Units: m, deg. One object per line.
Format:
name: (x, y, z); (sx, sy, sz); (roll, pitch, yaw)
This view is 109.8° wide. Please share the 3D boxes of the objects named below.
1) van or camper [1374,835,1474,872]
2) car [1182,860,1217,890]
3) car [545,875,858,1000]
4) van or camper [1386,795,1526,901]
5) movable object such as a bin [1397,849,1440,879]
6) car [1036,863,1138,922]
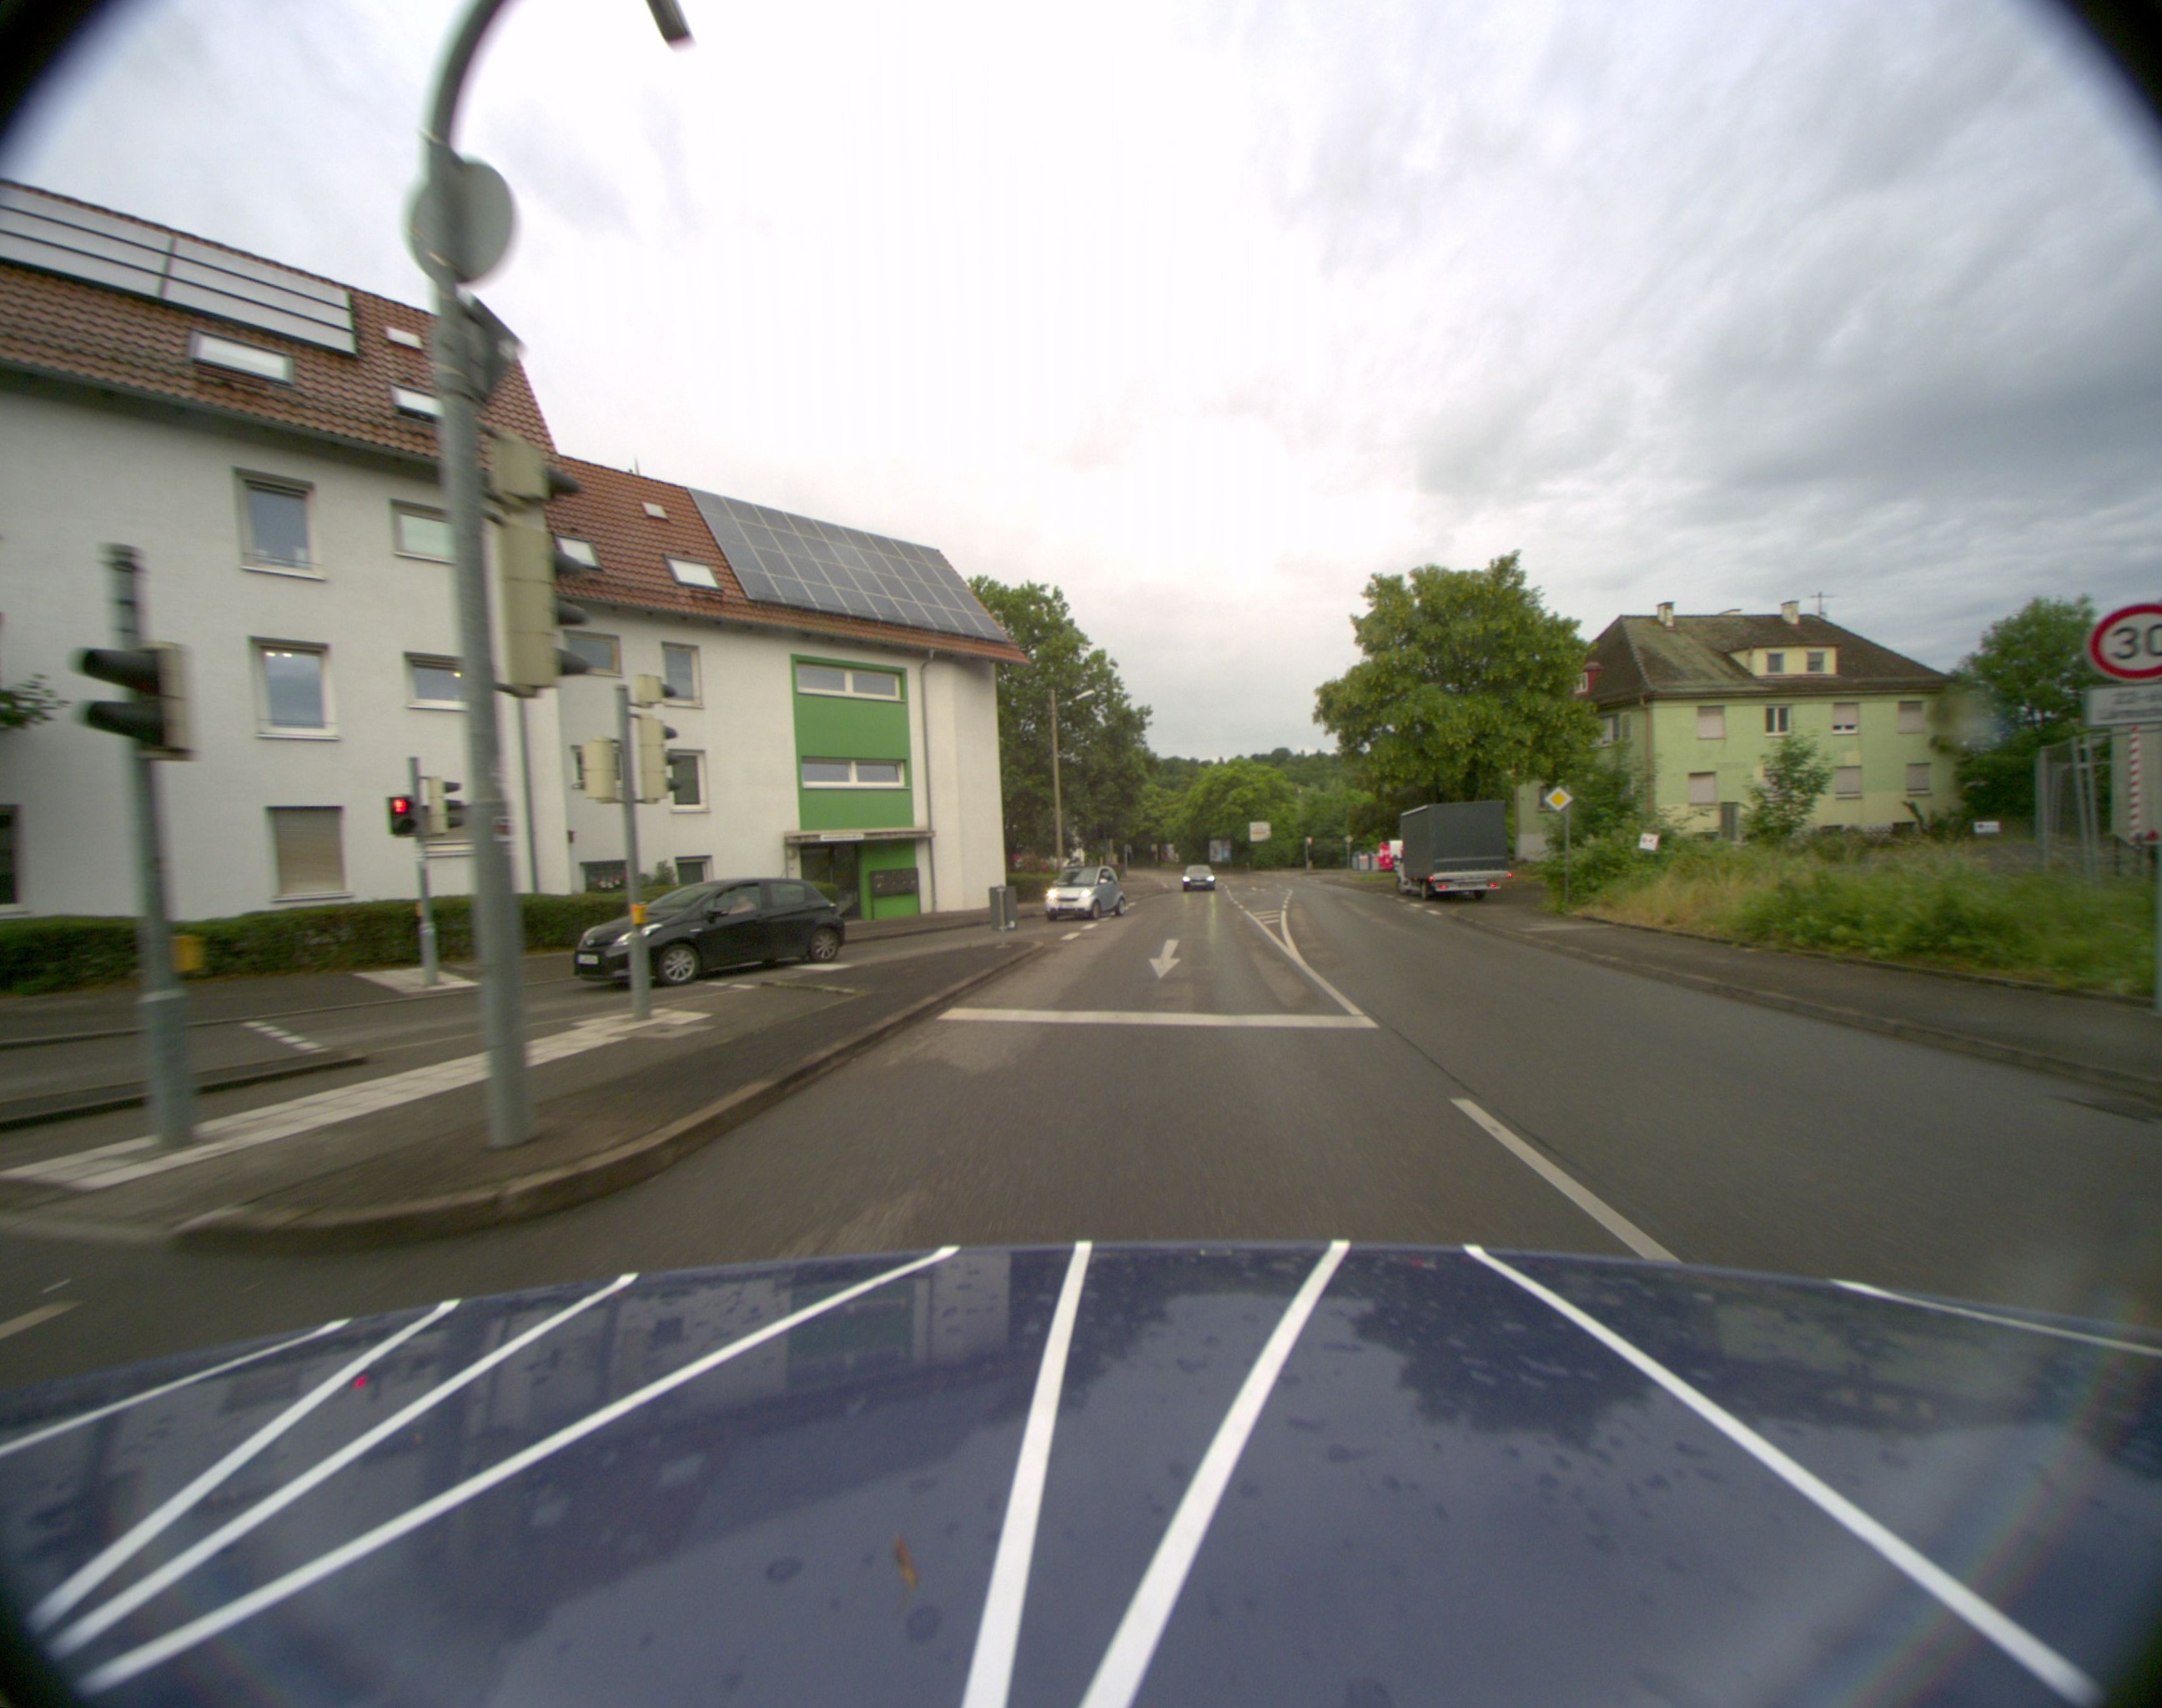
van or camper: (25.815, -0.052, 57.264); (6.697, 2.507, 2.222); (-2, 0, -9)
car: (6.715, 1.174, 43.402); (1.706, 1.548, 4.002); (-2, 0, 5)
car: (-5.614, 1.145, 11.757); (1.641, 1.449, 4.008); (-3, -1, 33)
van or camper: (13.527, -0.175, 28.181); (2.703, 3.315, 7.769); (-2, 0, 12)
movable object such as a bin: (17.928, 0.548, 40.398); (1.474, 1.432, 1.375); (-2, -3, -27)
car: (0.270, 1.094, 22.590); (1.642, 1.548, 3.634); (-2, 0, 25)
